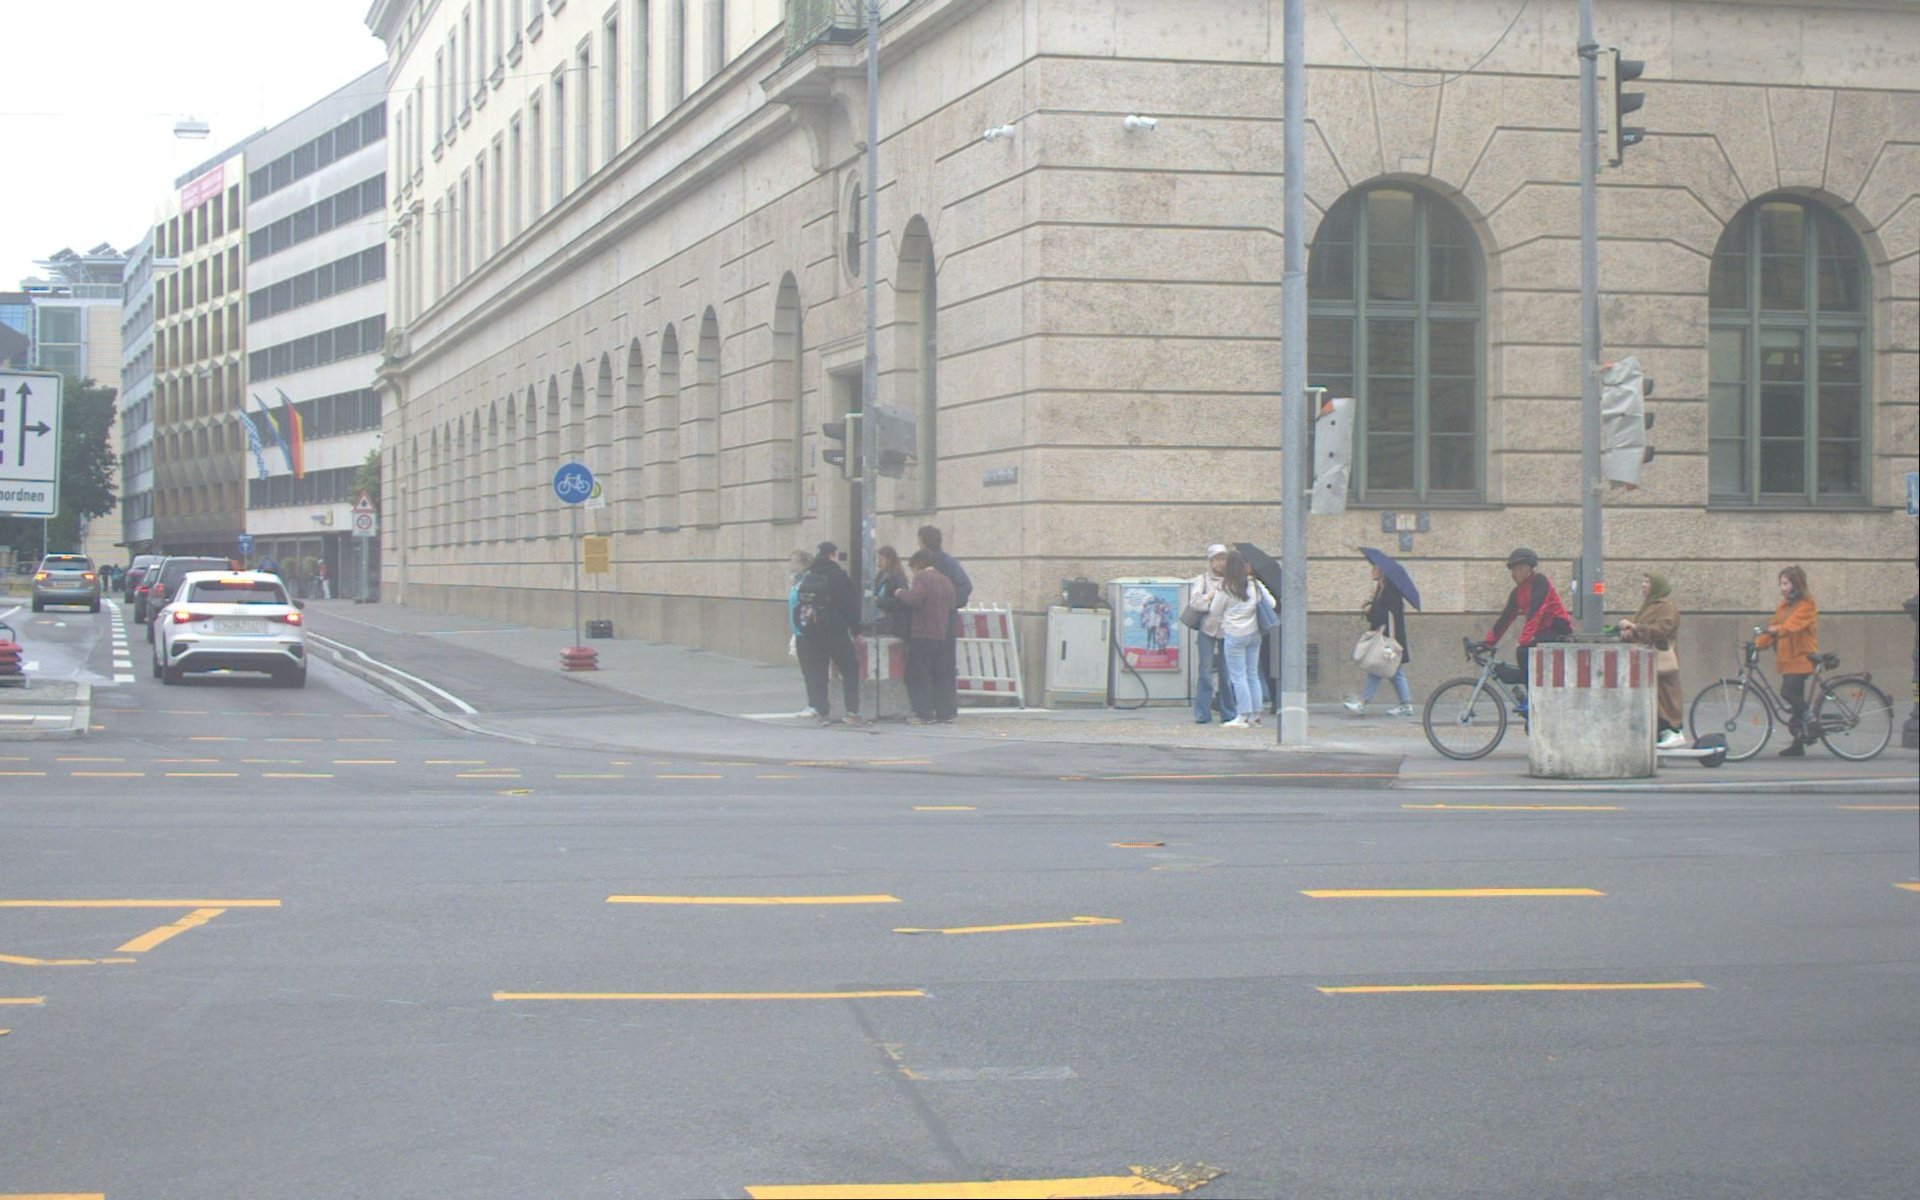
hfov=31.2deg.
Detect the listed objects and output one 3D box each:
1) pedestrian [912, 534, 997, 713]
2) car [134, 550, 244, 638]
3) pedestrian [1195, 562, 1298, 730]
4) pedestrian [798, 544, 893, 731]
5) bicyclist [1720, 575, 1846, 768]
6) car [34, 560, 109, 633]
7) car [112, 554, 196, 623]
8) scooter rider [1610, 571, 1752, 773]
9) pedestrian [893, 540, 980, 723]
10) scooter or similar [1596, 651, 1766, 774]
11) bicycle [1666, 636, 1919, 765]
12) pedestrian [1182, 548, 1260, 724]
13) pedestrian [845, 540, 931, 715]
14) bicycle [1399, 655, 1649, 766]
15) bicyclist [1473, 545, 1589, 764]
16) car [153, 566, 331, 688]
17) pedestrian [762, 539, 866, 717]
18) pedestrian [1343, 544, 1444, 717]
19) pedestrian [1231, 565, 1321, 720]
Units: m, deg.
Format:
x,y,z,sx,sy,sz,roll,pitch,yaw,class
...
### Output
x,y,z,sx,sy,sz,roll,pitch,yaw,class
-0.048,0.226,34.283,0.584,1.749,0.819,2,0,17,pedestrian
-14.449,-0.129,64.316,1.864,1.596,3.852,0,1,-15,car
2.701,0.427,32.434,0.817,1.552,0.667,2,0,-6,pedestrian
-1.092,0.352,32.877,0.817,1.749,0.680,2,0,2,pedestrian
7.050,0.602,29.468,0.743,1.609,0.795,2,0,-11,bicyclist
-25.223,-0.114,97.587,1.993,2.007,4.001,0,1,-15,car
-19.388,-0.288,82.607,1.864,1.596,3.852,0,1,-15,car
5.907,0.583,28.188,0.932,1.617,0.592,1,0,-12,scooter rider
-0.222,0.299,33.512,0.584,1.749,0.819,2,0,17,pedestrian
5.909,0.918,28.195,1.210,0.961,0.588,1,0,-13,scooter or similar
7.152,0.856,29.492,1.957,1.037,0.795,1,0,-11,bicycle
2.511,0.344,33.142,0.616,1.666,0.542,2,0,-6,pedestrian
-0.729,0.272,35.124,0.817,1.749,0.585,2,0,0,pedestrian
4.806,0.941,29.303,1.971,0.876,0.662,1,0,-11,bicycle
4.865,0.459,29.312,0.743,1.836,0.661,2,0,-11,bicyclist
-9.342,0.317,44.495,1.812,1.420,4.453,2,0,-17,car
-1.461,0.279,34.386,0.818,1.749,0.585,1,0,-44,pedestrian
4.300,0.297,34.145,0.715,1.688,0.820,1,0,-13,pedestrian
3.175,0.423,34.575,0.665,1.522,0.820,2,0,-10,pedestrian
